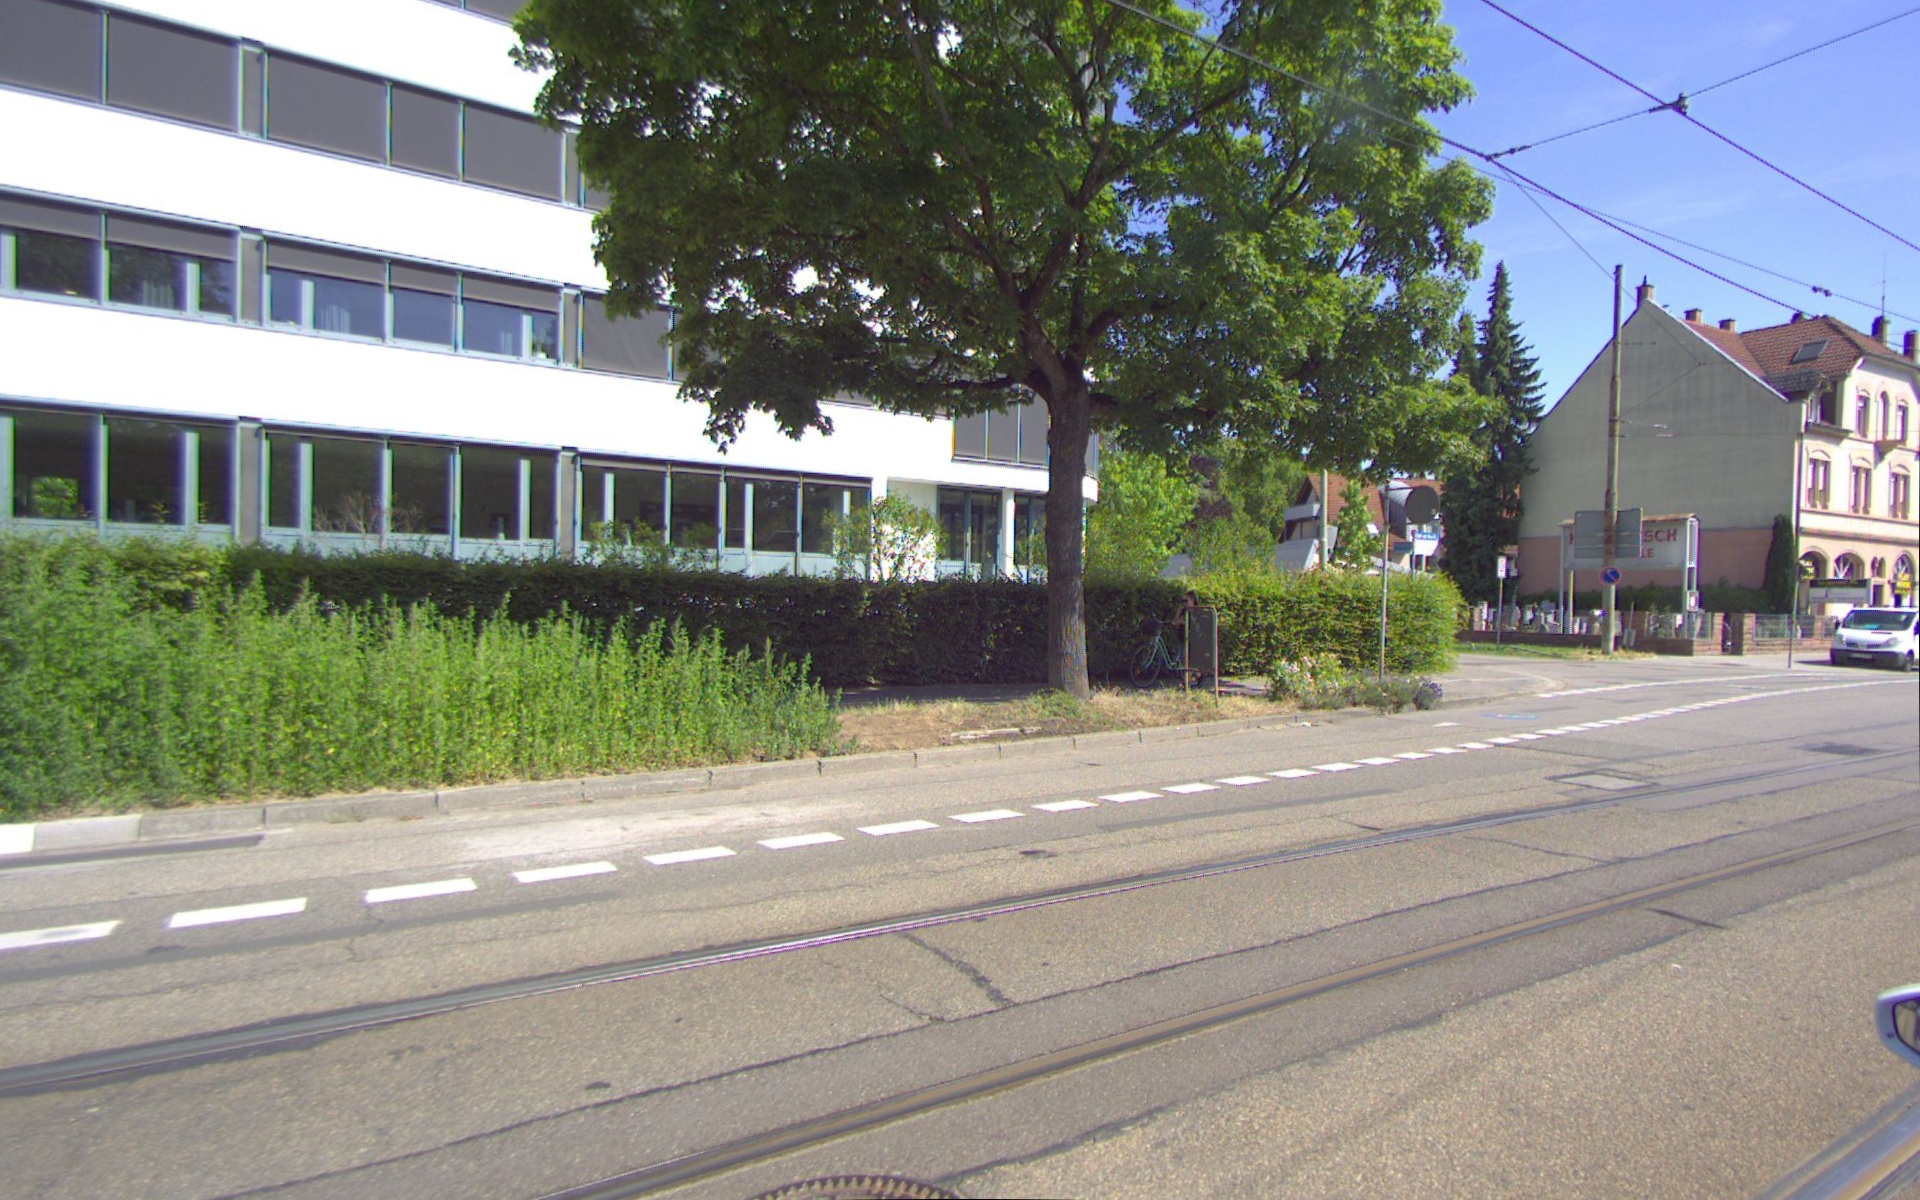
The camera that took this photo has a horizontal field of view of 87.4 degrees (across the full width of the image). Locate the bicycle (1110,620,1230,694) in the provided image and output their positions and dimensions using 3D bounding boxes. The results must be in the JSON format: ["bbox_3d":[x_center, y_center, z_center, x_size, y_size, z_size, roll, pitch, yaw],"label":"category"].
[{"bbox_3d":[3.438,0.898,16.364,2.044,1.132,0.632,1,0,-32],"label":"bicycle"}]

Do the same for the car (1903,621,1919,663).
[{"bbox_3d":[35.053,1.468,35.341,3.954,1.425,1.712,0,0,-30],"label":"car"}]

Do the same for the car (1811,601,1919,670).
[{"bbox_3d":[29.687,1.119,32.214,4.849,2.040,2.074,1,1,-30],"label":"car"}]

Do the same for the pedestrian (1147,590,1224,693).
[{"bbox_3d":[3.625,0.649,16.129,0.979,1.584,0.681,1,2,-35],"label":"pedestrian"}]
